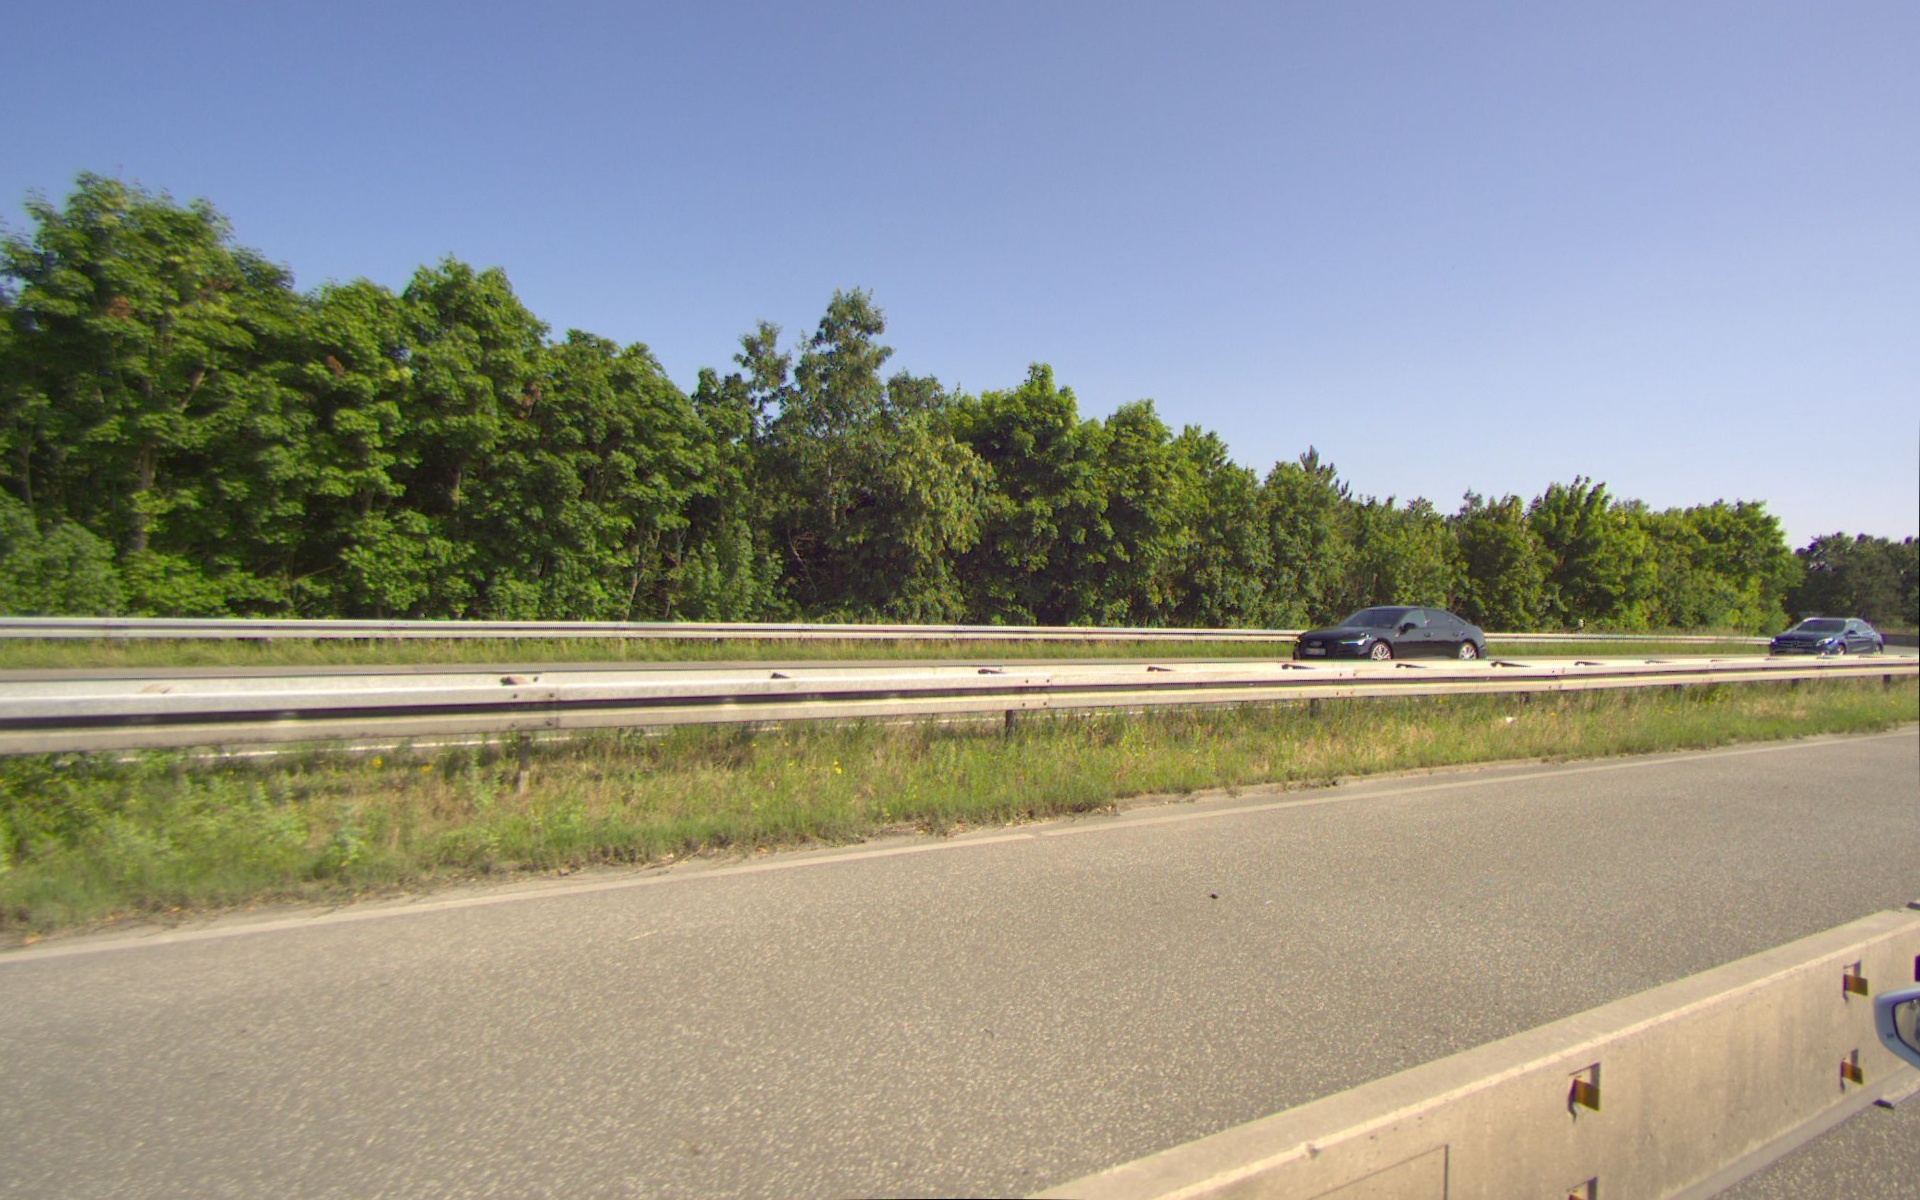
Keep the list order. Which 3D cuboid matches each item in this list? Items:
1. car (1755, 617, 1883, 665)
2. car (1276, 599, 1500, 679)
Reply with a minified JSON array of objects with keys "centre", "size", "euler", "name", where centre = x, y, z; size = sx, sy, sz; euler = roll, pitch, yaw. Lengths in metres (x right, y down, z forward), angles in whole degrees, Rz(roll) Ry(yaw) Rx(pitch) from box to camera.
[{"centre":[28.637,1.353,33.455],"size":[4.537,1.453,1.789],"euler":[1,0,-30],"name":"car"},{"centre":[9.353,0.825,21.830],"size":[4.963,1.508,1.807],"euler":[1,1,-30],"name":"car"}]
